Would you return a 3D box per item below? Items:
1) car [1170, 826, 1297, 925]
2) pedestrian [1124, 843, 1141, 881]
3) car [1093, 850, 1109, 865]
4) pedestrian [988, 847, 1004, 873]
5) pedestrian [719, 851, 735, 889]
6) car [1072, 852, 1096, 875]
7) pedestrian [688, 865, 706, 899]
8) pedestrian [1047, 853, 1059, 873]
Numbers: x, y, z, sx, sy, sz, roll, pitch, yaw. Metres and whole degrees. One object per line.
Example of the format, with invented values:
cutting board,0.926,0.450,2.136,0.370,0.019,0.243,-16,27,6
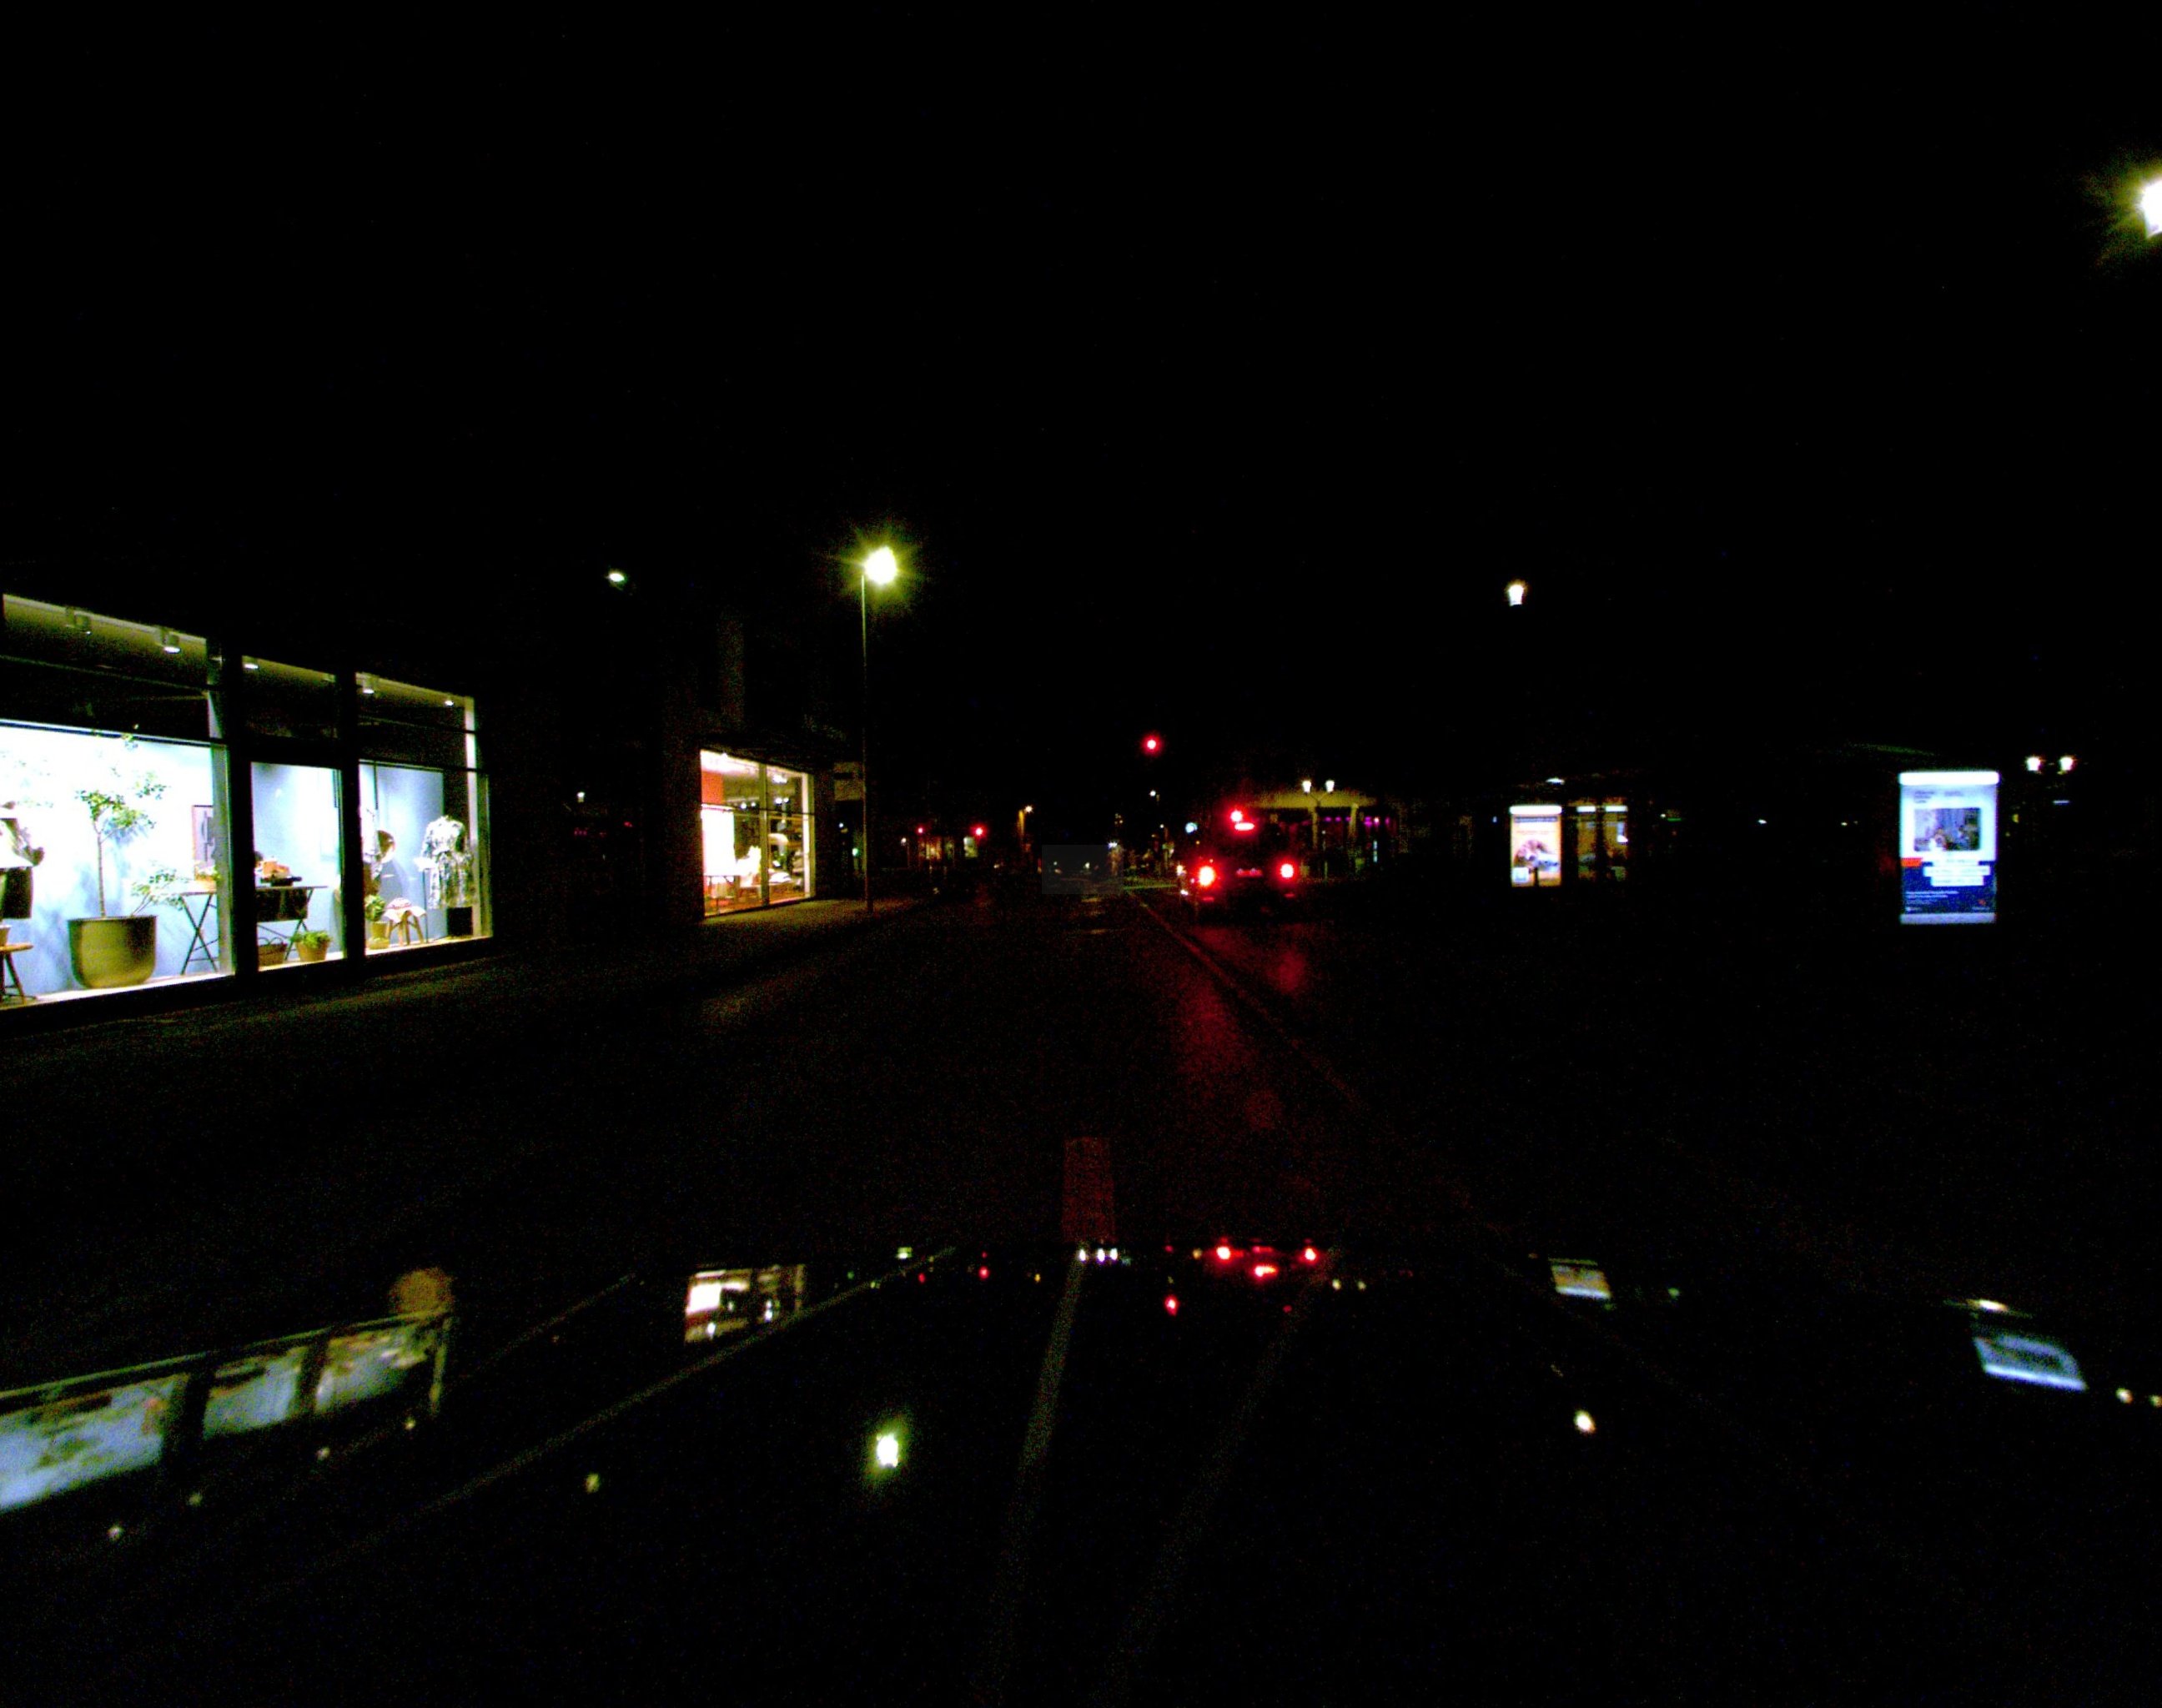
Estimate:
car,3.203,0.391,17.022,1.971,1.861,4.912,-1,1,2
pedestrian,2.299,0.352,33.841,0.539,1.672,0.648,-2,1,23
car,2.477,0.457,95.016,1.879,1.718,3.999,-2,1,1
pedestrian,-5.601,0.408,50.112,0.877,1.723,0.647,0,1,4
pedestrian,-16.151,0.724,34.635,0.407,1.677,0.487,-2,1,5
car,0.269,0.703,60.171,1.713,1.660,3.738,-2,1,3
pedestrian,-19.862,1.438,39.294,0.524,1.707,0.566,-2,1,0
pedestrian,-2.096,0.682,56.845,0.648,1.487,0.828,-1,1,-22
